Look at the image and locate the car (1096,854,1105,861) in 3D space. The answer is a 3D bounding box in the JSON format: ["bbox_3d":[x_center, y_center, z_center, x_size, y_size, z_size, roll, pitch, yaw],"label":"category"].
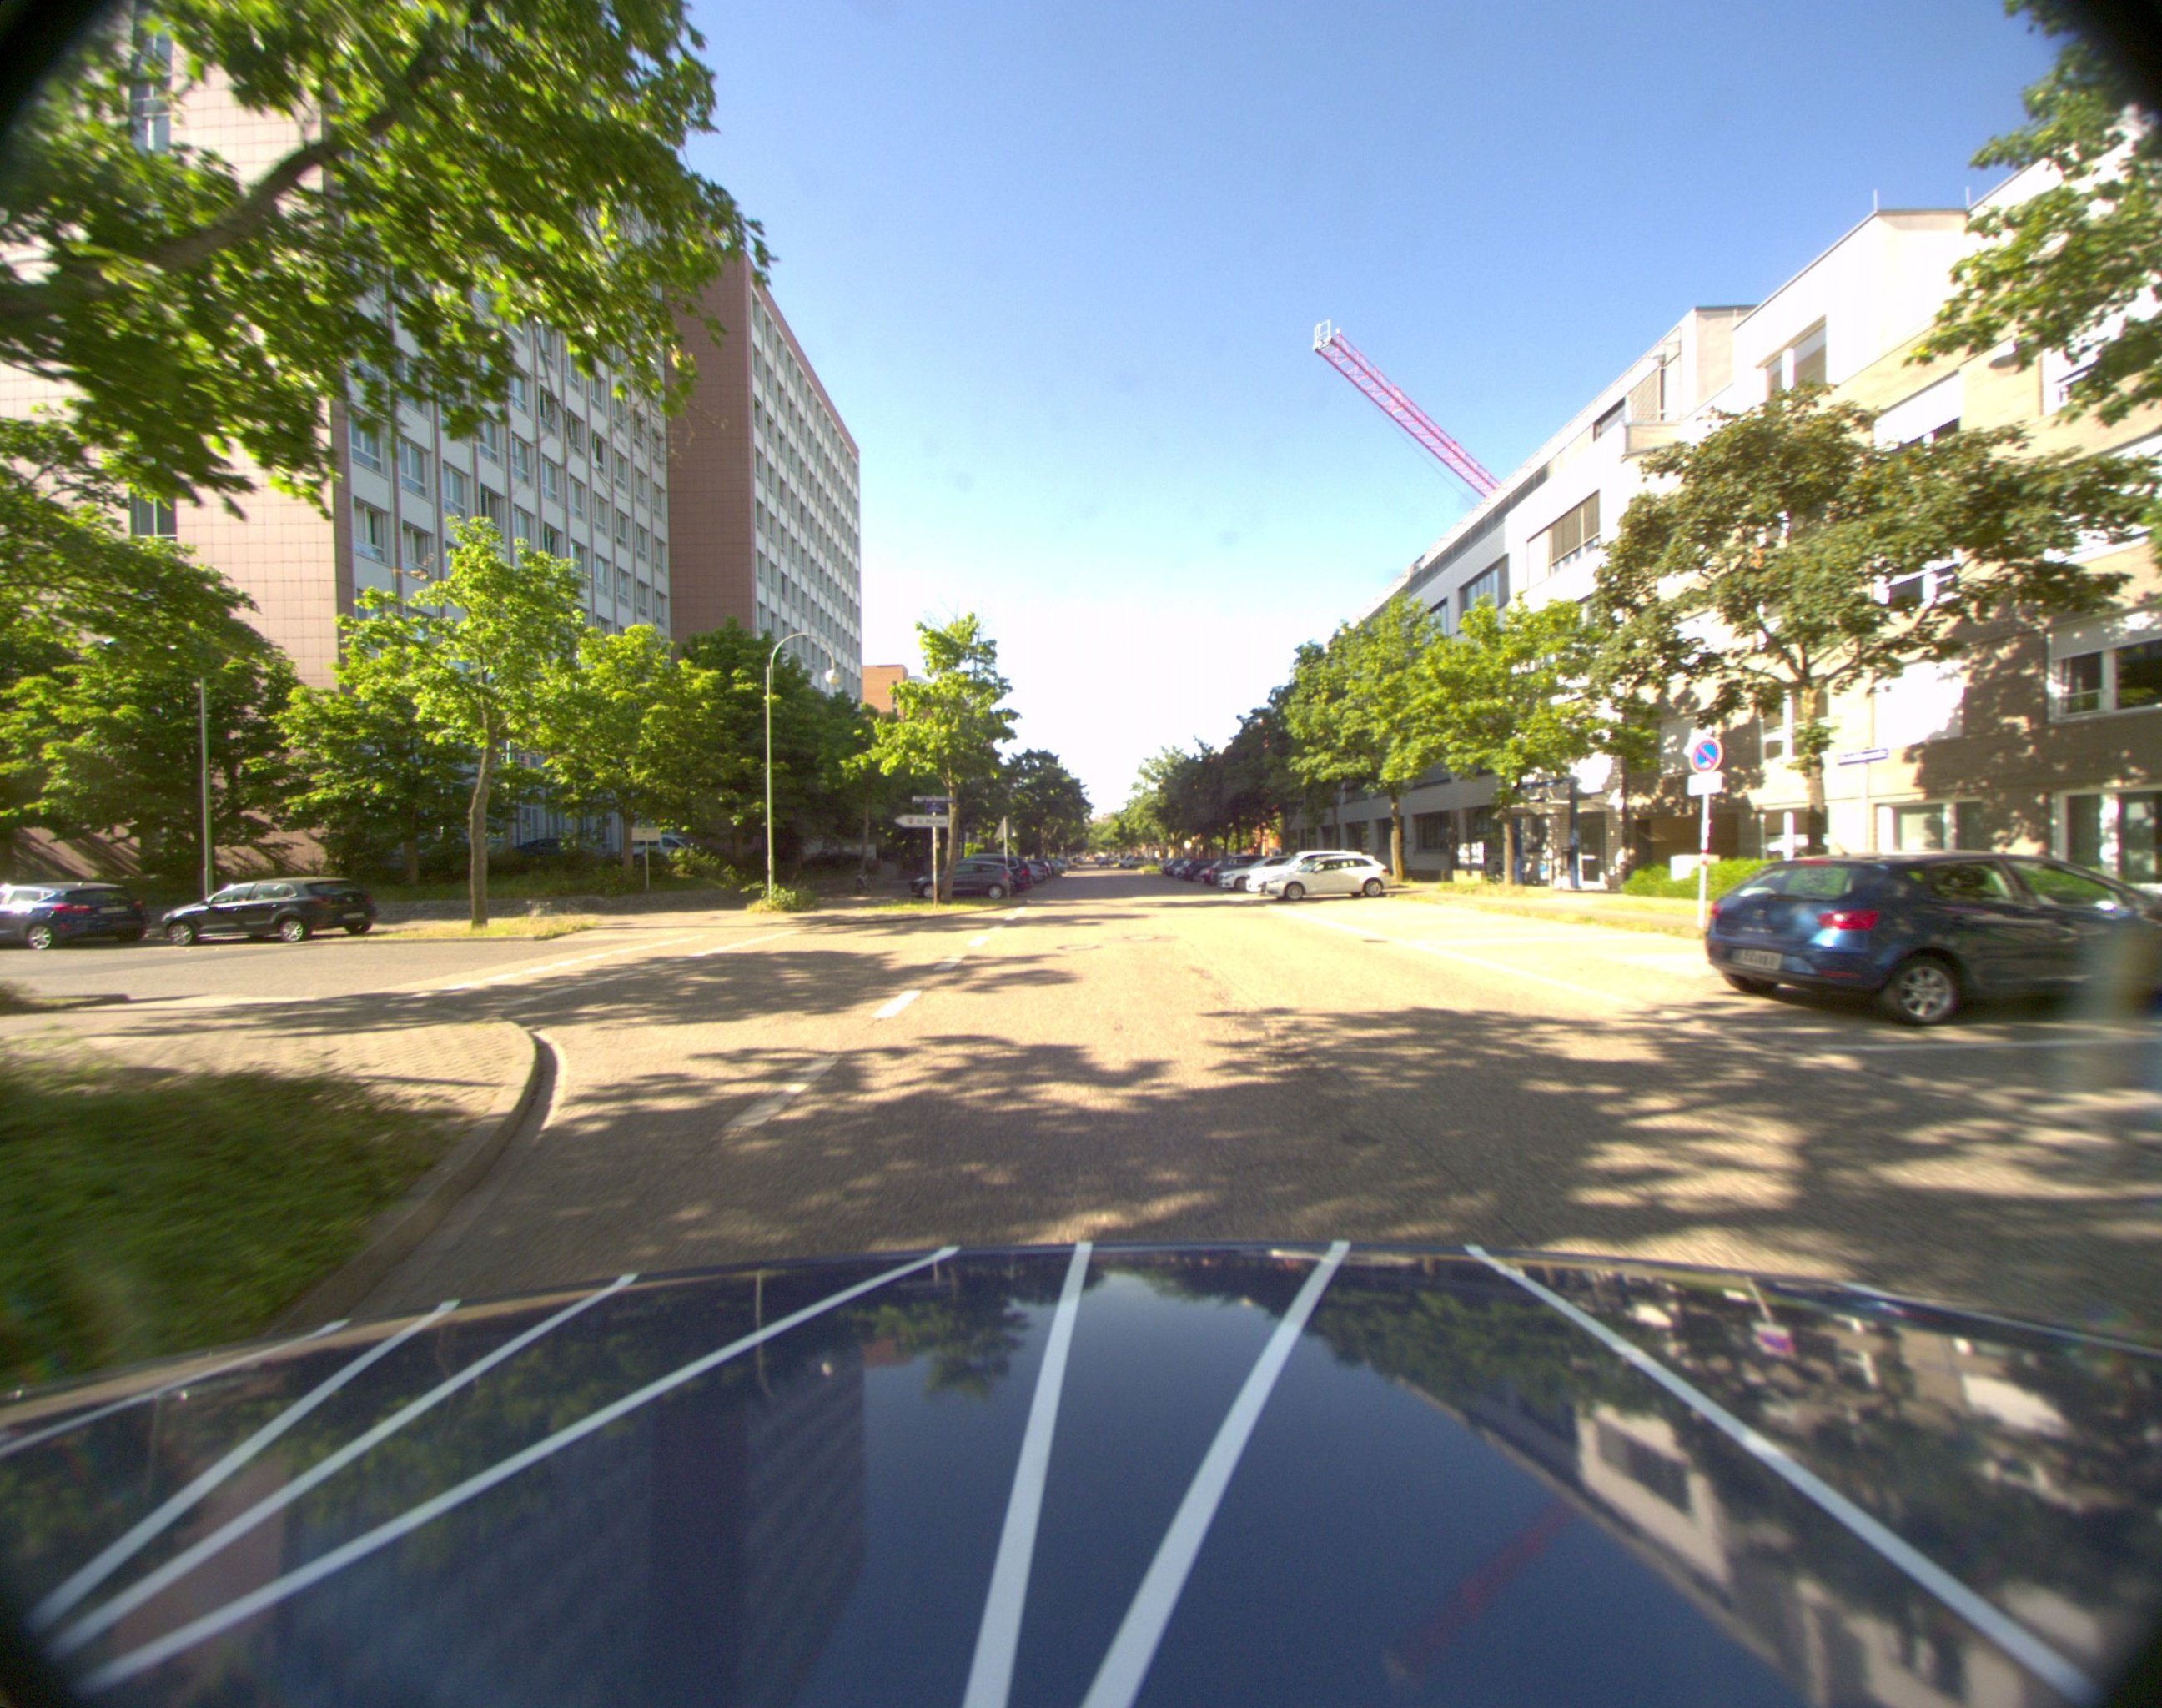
[{"bbox_3d":[4.818,0.867,186.302,1.951,1.617,4.001,-1,0,4],"label":"car"}]

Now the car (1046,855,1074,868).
[{"bbox_3d":[-3.110,1.065,112.893,3.998,1.773,1.952,-2,0,-4],"label":"car"}]

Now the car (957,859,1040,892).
[{"bbox_3d":[-3.933,1.022,36.663,3.881,1.556,1.808,0,0,-4],"label":"car"}]

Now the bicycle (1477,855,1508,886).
[{"bbox_3d":[16.164,0.625,29.862,0.338,1.168,1.627,-2,0,1],"label":"bicycle"}]

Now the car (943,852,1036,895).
[{"bbox_3d":[-3.846,0.805,32.390,3.680,1.741,1.724,0,1,3],"label":"car"}]

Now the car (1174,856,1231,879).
[{"bbox_3d":[8.187,0.901,51.323,3.539,1.428,1.657,-2,0,-1],"label":"car"}]

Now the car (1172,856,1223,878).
[{"bbox_3d":[8.639,0.942,56.409,3.527,1.520,1.657,-2,1,-1],"label":"car"}]

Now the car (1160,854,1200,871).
[{"bbox_3d":[9.562,0.841,73.356,3.630,1.499,1.617,-2,1,-1],"label":"car"}]

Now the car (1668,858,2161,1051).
[{"bbox_3d":[8.093,0.800,7.018,3.998,1.403,1.816,-2,0,-3],"label":"car"}]

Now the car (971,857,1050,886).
[{"bbox_3d":[-4.088,1.022,44.418,4.431,1.544,1.859,-1,0,0],"label":"car"}]

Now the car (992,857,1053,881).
[{"bbox_3d":[-3.879,0.985,50.907,3.982,1.540,1.683,-1,0,-3],"label":"car"}]

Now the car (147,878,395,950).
[{"bbox_3d":[-19.129,1.380,18.071,3.996,1.439,1.769,-2,1,1],"label":"car"}]

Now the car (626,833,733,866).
[{"bbox_3d":[-21.707,-0.261,41.216,4.729,1.676,1.875,-1,0,-3],"label":"car"}]

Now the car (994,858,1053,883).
[{"bbox_3d":[-3.630,1.028,48.310,3.581,1.498,1.724,0,0,0],"label":"car"}]

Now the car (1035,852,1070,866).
[{"bbox_3d":[-3.518,0.621,94.587,4.164,1.696,2.000,-2,0,-1],"label":"car"}]

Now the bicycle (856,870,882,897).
[{"bbox_3d":[-8.496,1.186,30.514,0.302,0.987,1.958,-2,0,5],"label":"bicycle"}]

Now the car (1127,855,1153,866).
[{"bbox_3d":[9.290,1.025,119.876,3.967,1.463,1.953,-2,0,2],"label":"car"}]

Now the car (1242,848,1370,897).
[{"bbox_3d":[8.493,0.692,28.961,4.235,1.593,1.953,-3,1,1],"label":"car"}]

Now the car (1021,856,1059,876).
[{"bbox_3d":[-3.485,1.023,64.395,3.053,1.595,1.604,0,0,3],"label":"car"}]

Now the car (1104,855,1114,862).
[{"bbox_3d":[5.378,0.887,146.305,1.766,1.365,4.001,-1,0,4],"label":"car"}]

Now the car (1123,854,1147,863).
[{"bbox_3d":[9.338,0.818,132.463,3.997,1.406,1.594,-1,0,-1],"label":"car"}]

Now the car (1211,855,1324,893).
[{"bbox_3d":[8.290,0.866,33.993,4.521,1.443,1.940,-2,0,-3],"label":"car"}]

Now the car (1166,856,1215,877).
[{"bbox_3d":[8.452,0.950,58.916,3.539,1.497,1.646,-2,0,-1],"label":"car"}]

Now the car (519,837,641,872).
[{"bbox_3d":[-22.387,0.020,34.089,4.237,1.498,1.723,-1,0,-5],"label":"car"}]

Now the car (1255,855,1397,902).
[{"bbox_3d":[8.276,0.815,25.932,4.269,1.471,1.800,-1,0,0],"label":"car"}]

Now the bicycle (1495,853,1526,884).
[{"bbox_3d":[17.102,0.554,30.300,0.338,1.168,1.627,-2,0,1],"label":"bicycle"}]

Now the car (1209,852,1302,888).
[{"bbox_3d":[8.453,0.766,37.155,4.122,1.611,1.803,-2,0,2],"label":"car"}]

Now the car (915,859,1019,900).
[{"bbox_3d":[-4.419,1.016,29.858,3.845,1.438,1.592,2,-1,-2],"label":"car"}]

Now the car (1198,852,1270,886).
[{"bbox_3d":[8.260,0.788,41.335,3.580,1.658,1.655,-2,0,3],"label":"car"}]

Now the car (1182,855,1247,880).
[{"bbox_3d":[8.484,0.886,48.531,3.832,1.405,1.688,-3,-1,-1],"label":"car"}]

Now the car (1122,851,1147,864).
[{"bbox_3d":[8.908,0.545,127.265,3.997,2.094,2.000,-2,1,-1],"label":"car"}]

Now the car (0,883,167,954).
[{"bbox_3d":[-24.215,1.488,17.668,3.854,1.460,1.650,-2,0,0],"label":"car"}]

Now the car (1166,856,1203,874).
[{"bbox_3d":[8.618,0.938,63.330,2.933,1.435,1.389,-1,1,0],"label":"car"}]

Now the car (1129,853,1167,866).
[{"bbox_3d":[9.410,0.740,107.694,5.252,1.616,1.953,-2,0,2],"label":"car"}]

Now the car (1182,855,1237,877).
[{"bbox_3d":[9.163,0.851,54.311,3.539,1.437,1.657,-2,0,-3],"label":"car"}]

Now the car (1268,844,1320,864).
[{"bbox_3d":[24.069,-0.024,85.989,5.328,2.086,1.932,-2,1,-1],"label":"car"}]
